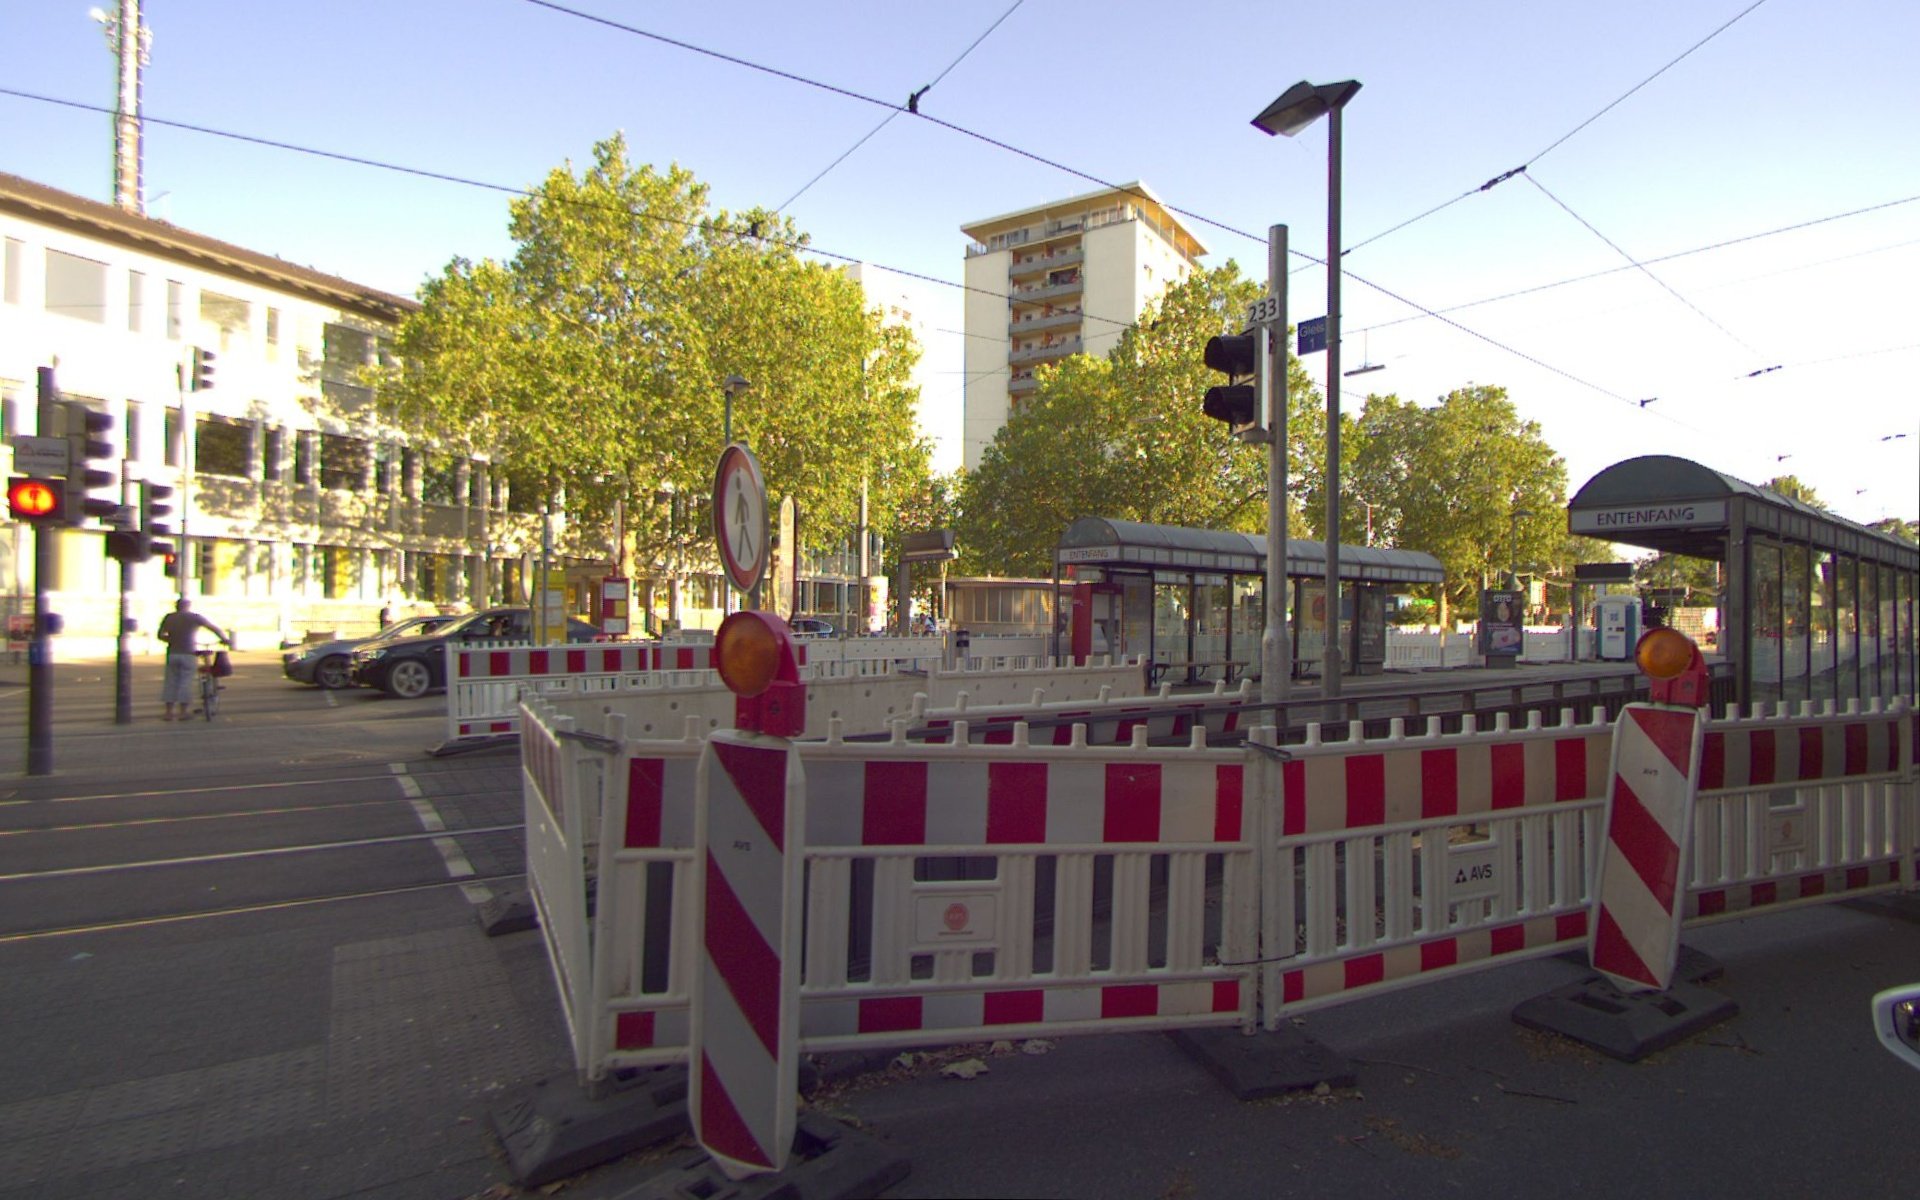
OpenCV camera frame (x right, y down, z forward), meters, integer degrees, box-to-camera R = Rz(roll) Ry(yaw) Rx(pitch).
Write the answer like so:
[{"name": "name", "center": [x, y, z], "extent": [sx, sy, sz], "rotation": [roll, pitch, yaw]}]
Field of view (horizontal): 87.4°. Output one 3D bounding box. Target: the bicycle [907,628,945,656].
[{"name": "bicycle", "center": [-1.241, 1.504, 36.382], "extent": [1.451, 0.980, 0.407], "rotation": [1, -1, -42]}]

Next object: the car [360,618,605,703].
[{"name": "car", "center": [-10.512, 1.246, 22.285], "extent": [4.648, 1.676, 1.933], "rotation": [0, -1, -38]}]

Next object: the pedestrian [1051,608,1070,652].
[{"name": "pedestrian", "center": [4.278, 1.280, 42.591], "extent": [0.560, 1.833, 0.609], "rotation": [0, -1, 39]}]

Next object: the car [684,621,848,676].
[{"name": "car", "center": [-5.672, 1.381, 29.780], "extent": [1.972, 1.467, 4.513], "rotation": [-1, -1, 42]}]

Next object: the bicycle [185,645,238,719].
[{"name": "bicycle", "center": [-10.774, 1.152, 14.487], "extent": [0.317, 0.978, 1.571], "rotation": [1, -1, -26]}]

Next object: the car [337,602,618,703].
[{"name": "car", "center": [-9.155, 0.938, 19.263], "extent": [4.548, 1.689, 1.879], "rotation": [1, 0, -39]}]

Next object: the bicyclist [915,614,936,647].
[{"name": "bicyclist", "center": [-1.241, 1.110, 36.383], "extent": [0.658, 1.189, 0.407], "rotation": [1, -1, -42]}]

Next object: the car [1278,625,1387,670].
[{"name": "car", "center": [15.070, 1.885, 40.556], "extent": [4.646, 1.676, 1.933], "rotation": [0, -1, -37]}]

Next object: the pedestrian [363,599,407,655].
[{"name": "pedestrian", "center": [-18.110, 0.844, 31.672], "extent": [0.792, 1.751, 0.886], "rotation": [0, -1, 15]}]

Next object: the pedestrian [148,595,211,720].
[{"name": "pedestrian", "center": [-11.364, 0.823, 14.642], "extent": [0.588, 1.782, 0.593], "rotation": [1, -1, -27]}]
